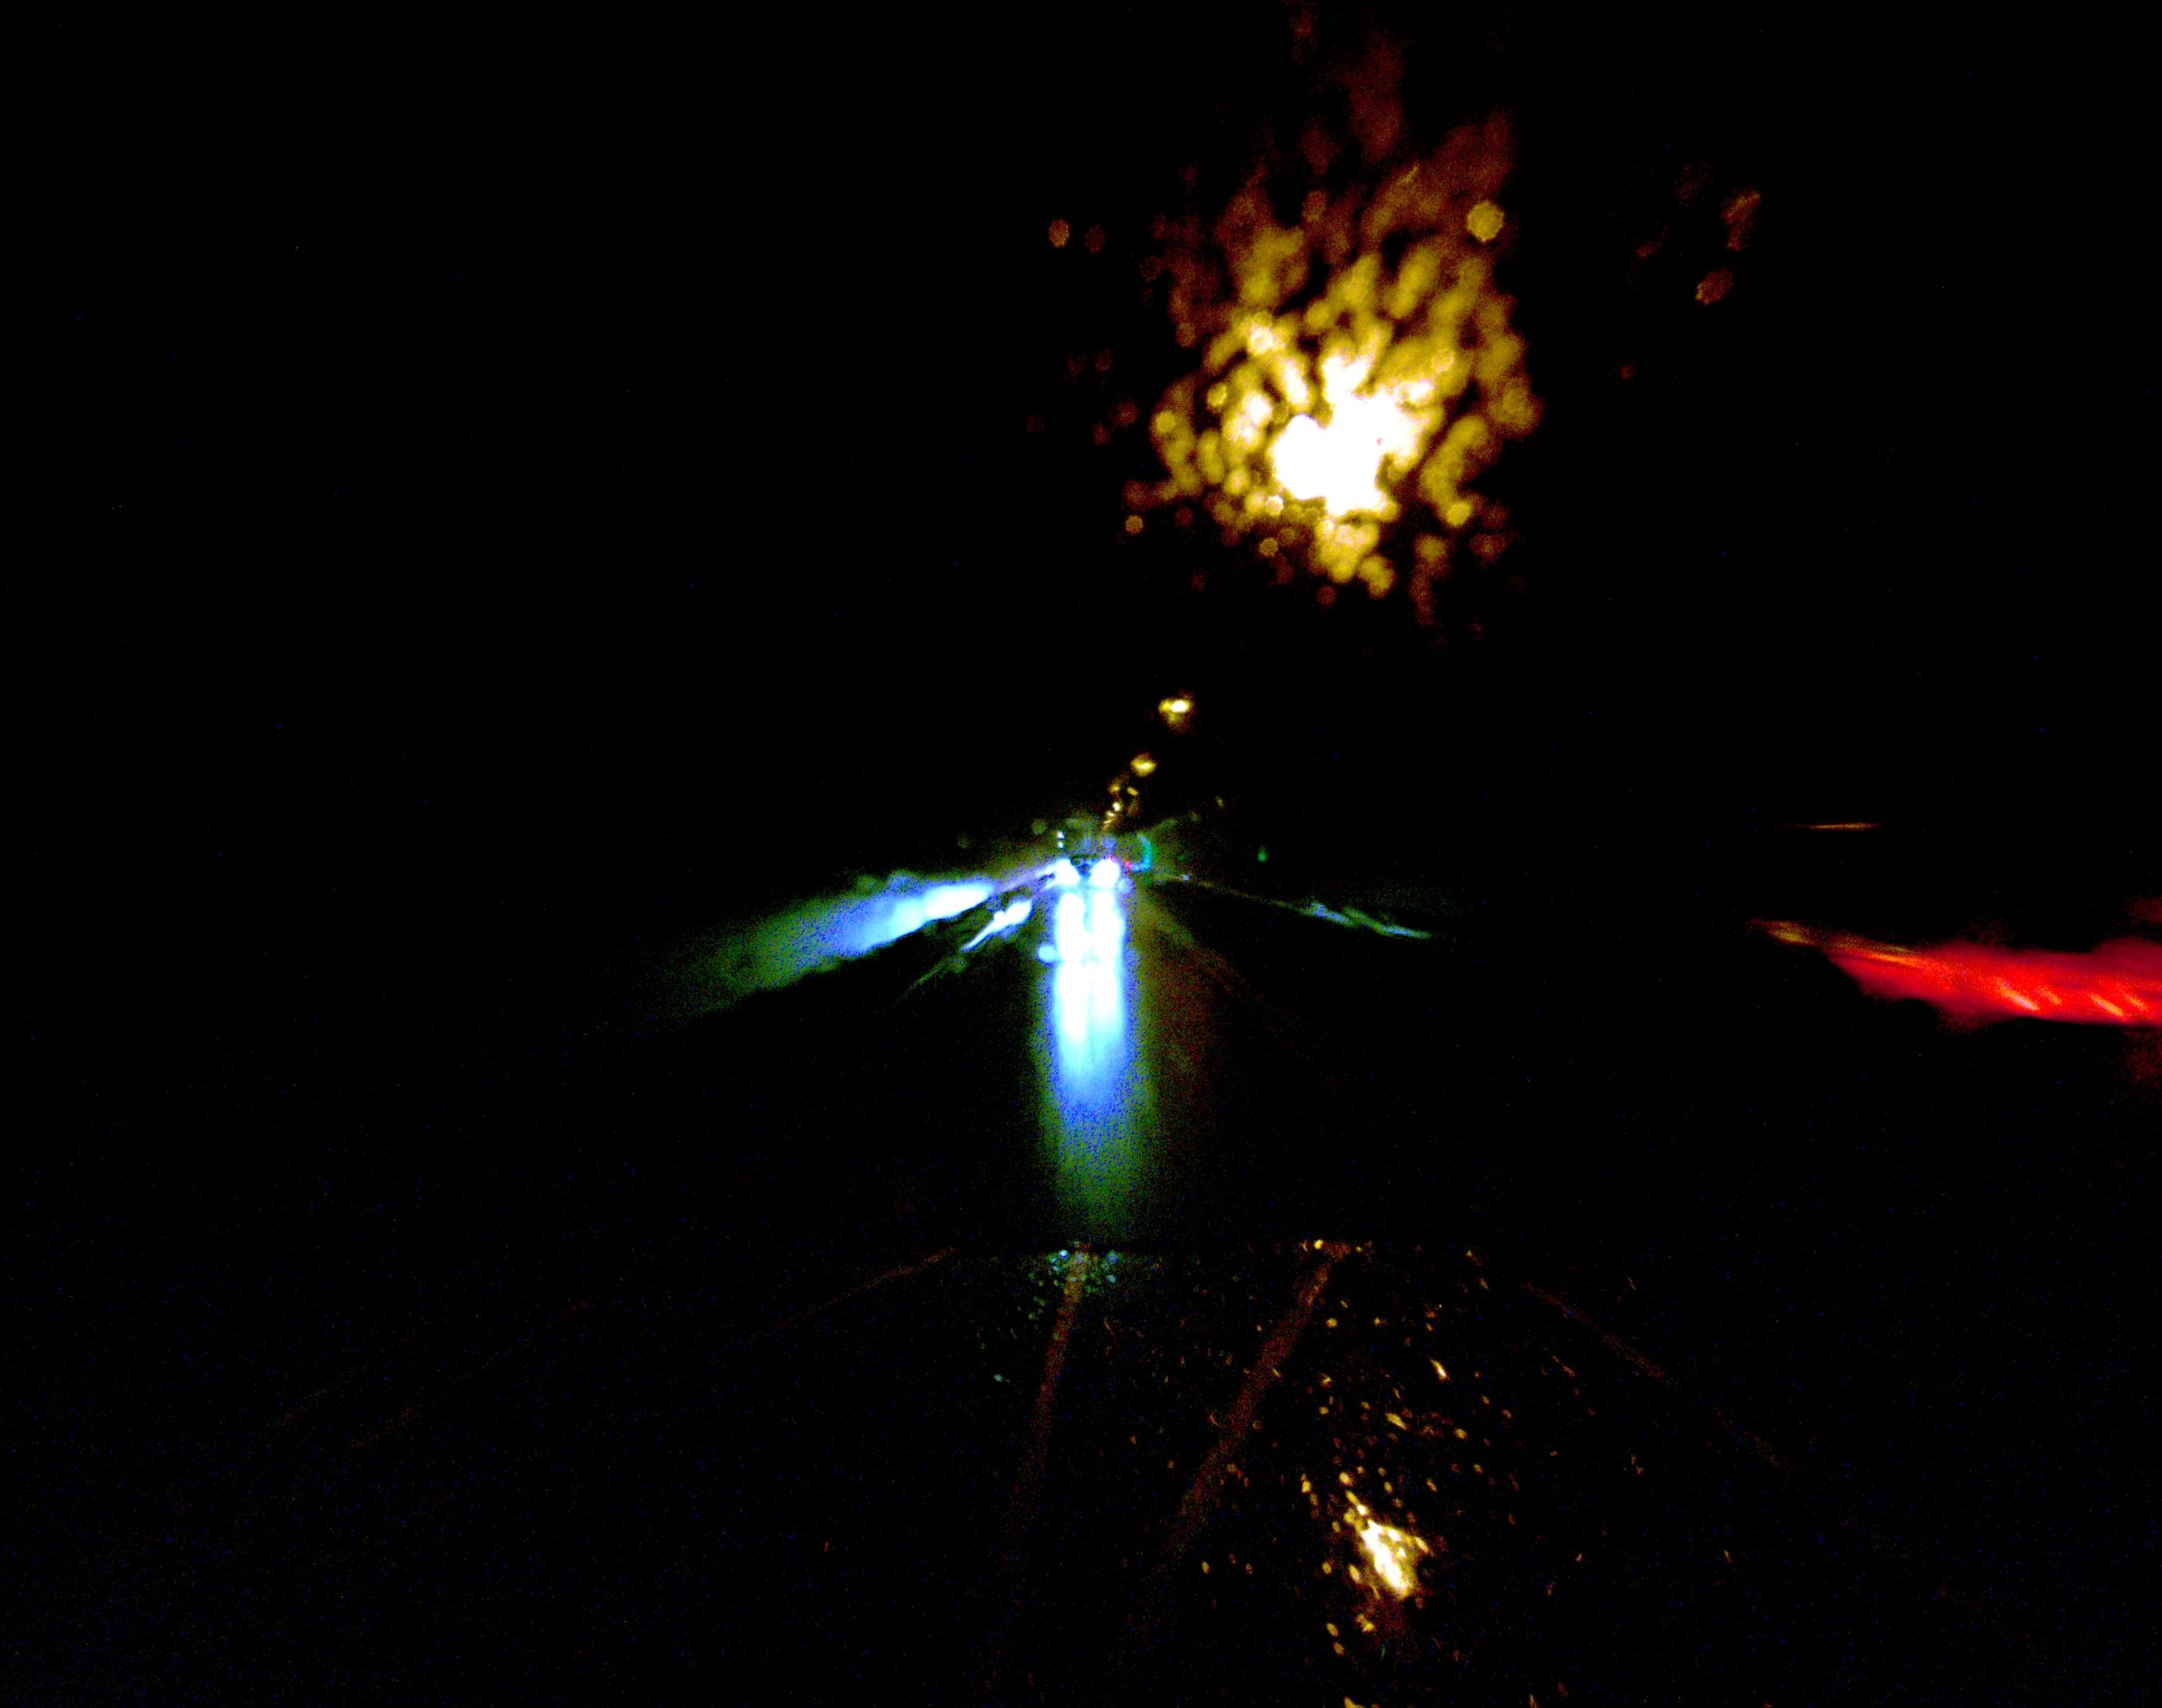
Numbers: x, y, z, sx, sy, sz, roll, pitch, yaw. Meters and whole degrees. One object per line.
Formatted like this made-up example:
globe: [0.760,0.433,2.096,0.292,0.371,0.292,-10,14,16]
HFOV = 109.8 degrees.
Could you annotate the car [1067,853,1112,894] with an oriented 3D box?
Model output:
car: [0.379,0.805,33.433,1.829,1.650,3.929,1,0,1]

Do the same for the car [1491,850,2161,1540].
car: [3.379,0.816,2.957,1.573,1.622,3.730,-1,0,1]

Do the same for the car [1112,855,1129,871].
car: [4.171,0.946,80.385,1.602,1.604,3.996,0,0,1]

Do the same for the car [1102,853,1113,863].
car: [5.202,0.796,148.502,2.090,2.002,4.560,-1,0,1]
